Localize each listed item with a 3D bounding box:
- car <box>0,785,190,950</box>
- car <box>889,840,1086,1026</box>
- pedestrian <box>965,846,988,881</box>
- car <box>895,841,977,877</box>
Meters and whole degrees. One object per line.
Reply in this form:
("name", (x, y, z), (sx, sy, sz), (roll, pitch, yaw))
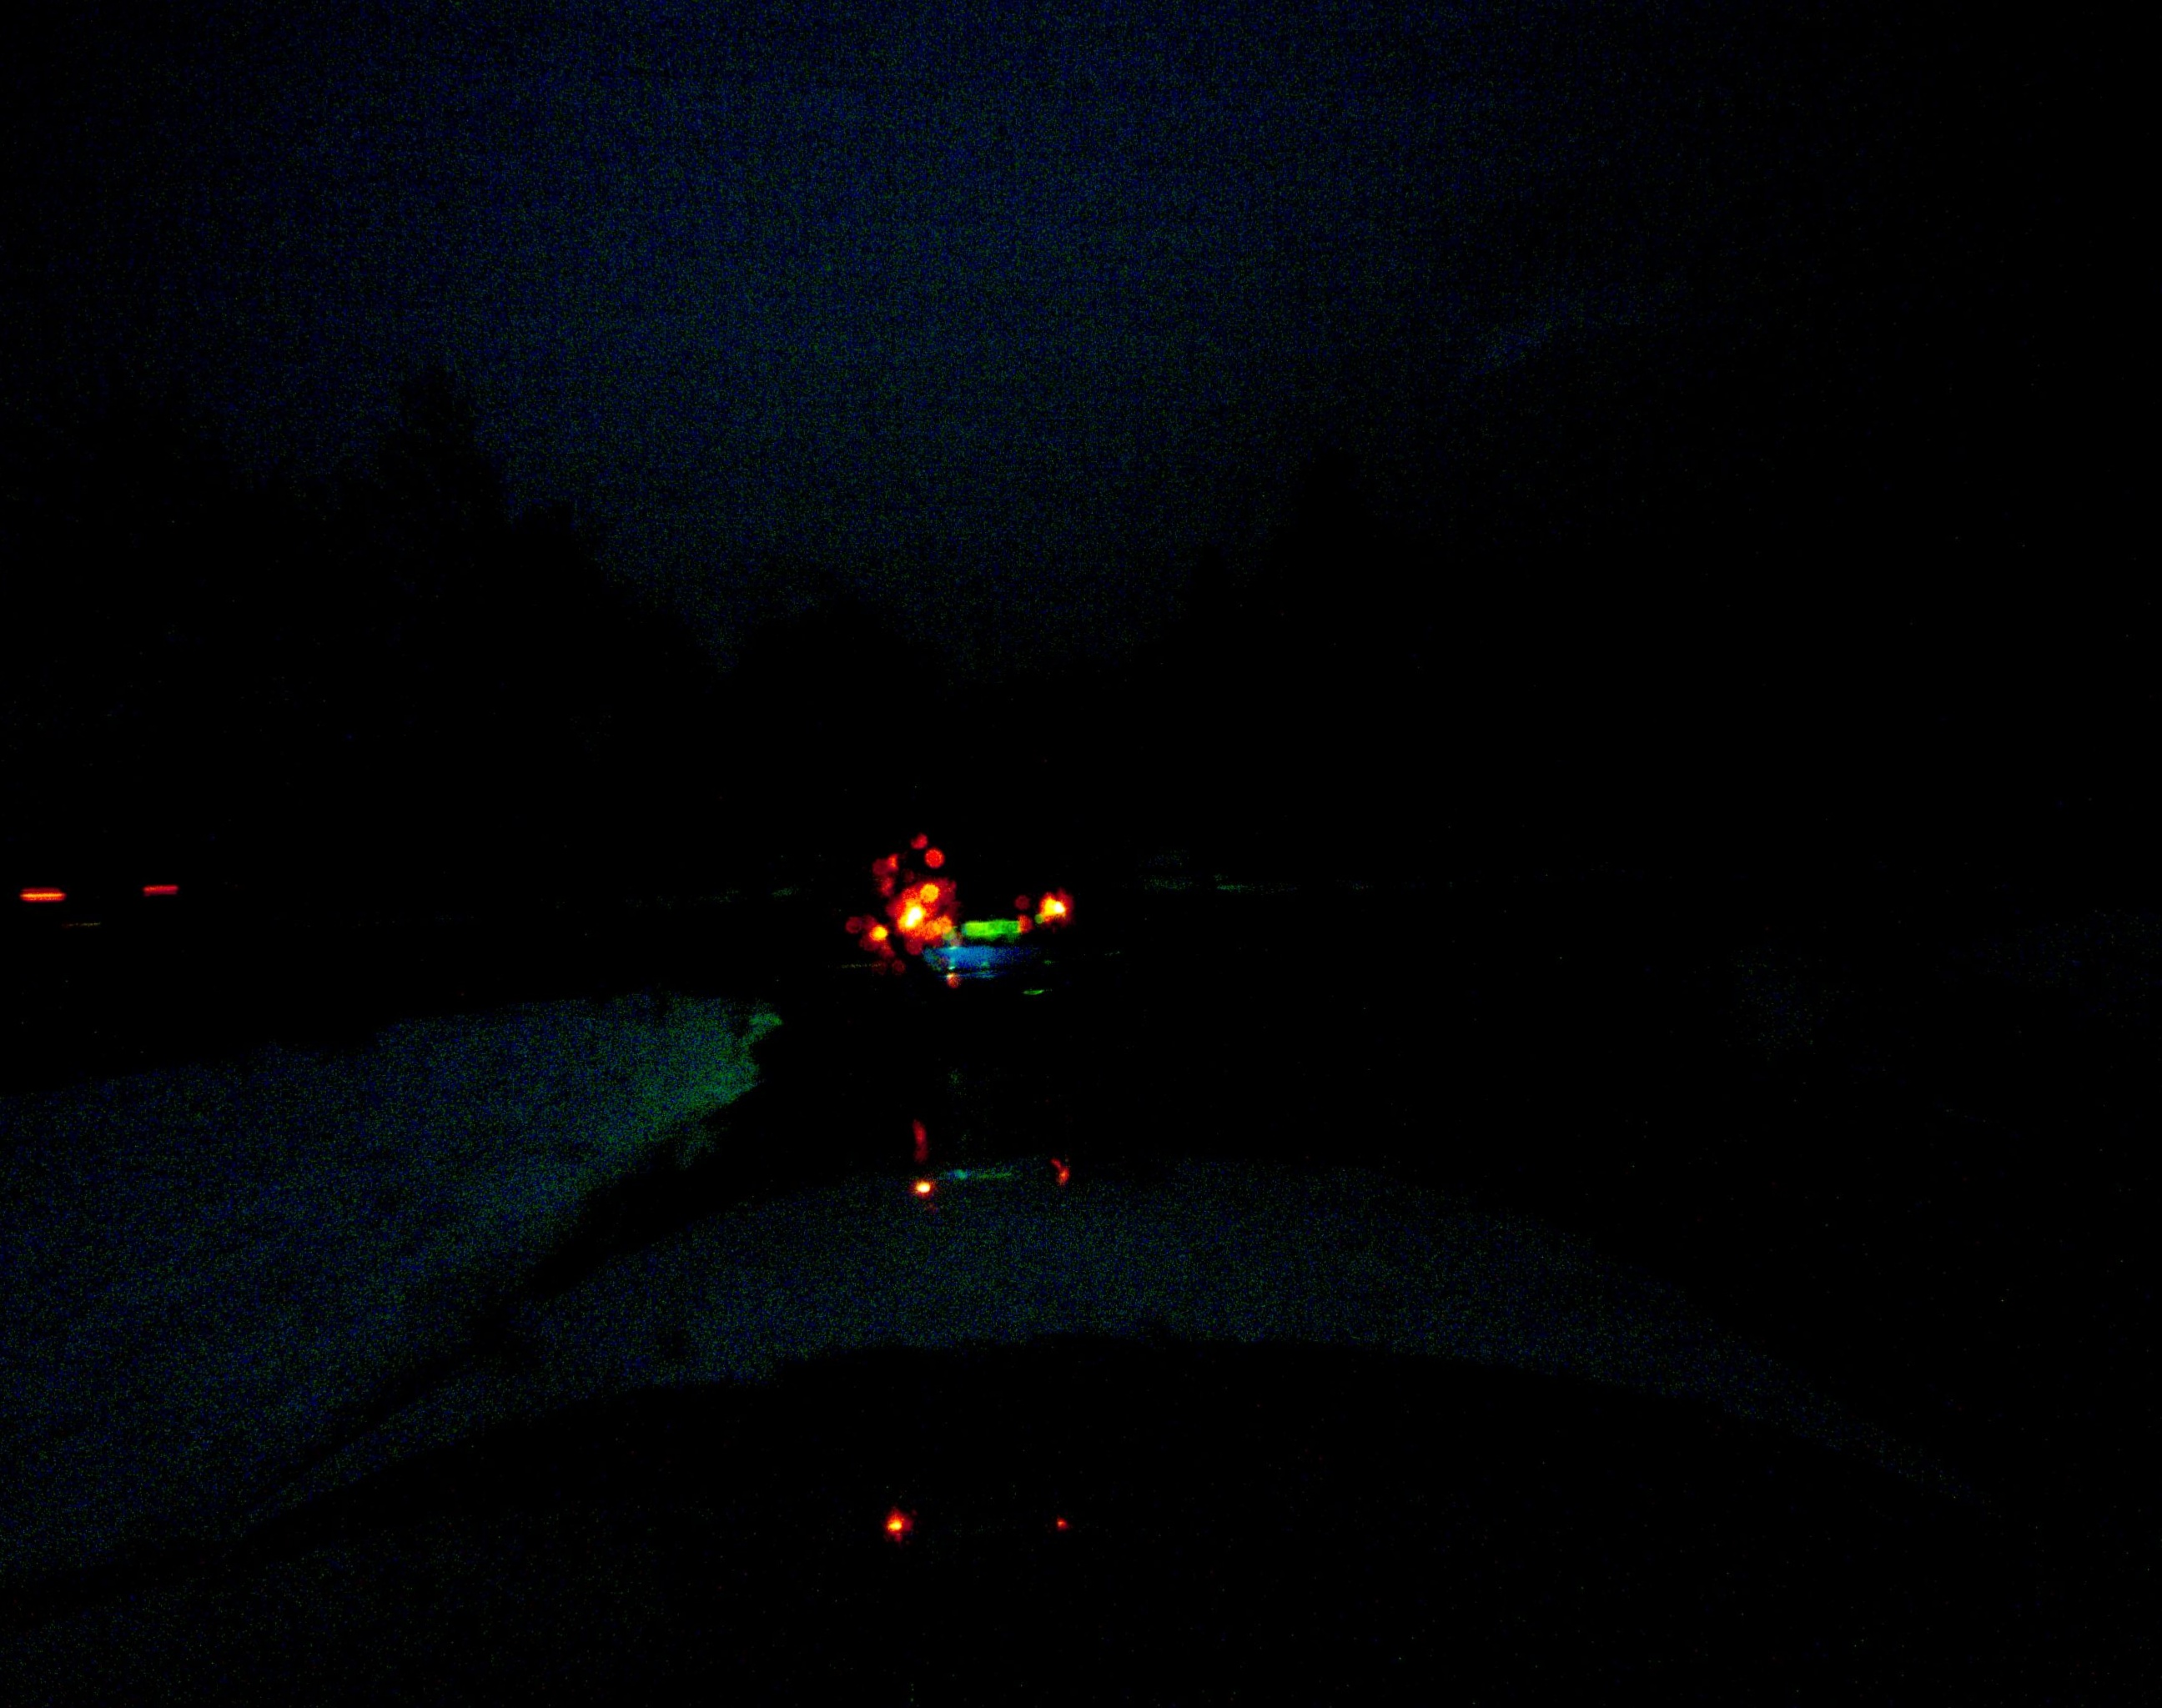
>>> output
("car", (-19.674, 0.247, 14.194), (5.502, 2.696, 2.149), (0, -1, -6))
("car", (-1.225, 0.658, 8.933), (1.694, 1.552, 3.838), (-1, 0, -13))
("pedestrian", (-5.619, 0.499, 43.715), (0.953, 1.828, 0.928), (-1, -1, 14))
("car", (-7.868, 0.301, 44.431), (3.923, 1.881, 2.005), (-1, -1, 9))
